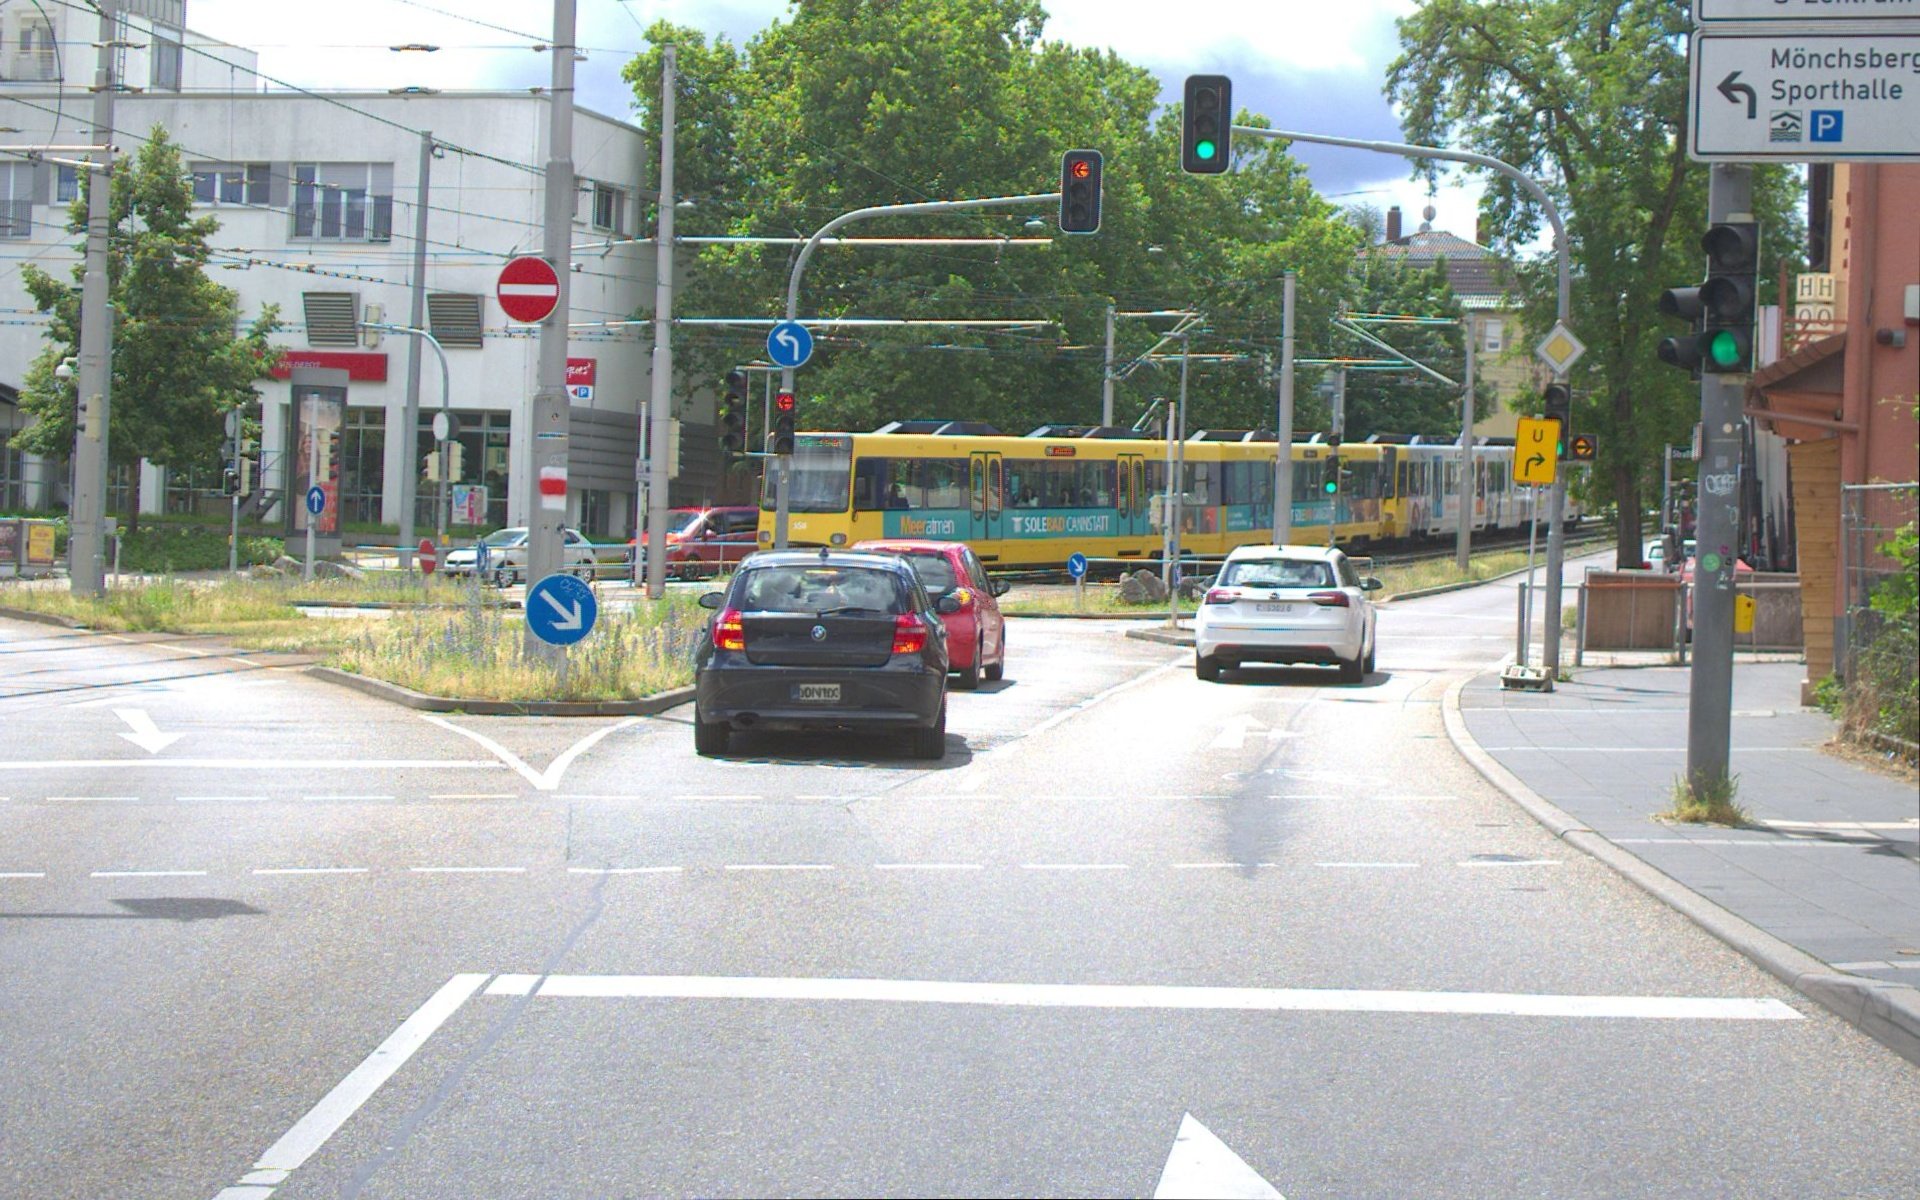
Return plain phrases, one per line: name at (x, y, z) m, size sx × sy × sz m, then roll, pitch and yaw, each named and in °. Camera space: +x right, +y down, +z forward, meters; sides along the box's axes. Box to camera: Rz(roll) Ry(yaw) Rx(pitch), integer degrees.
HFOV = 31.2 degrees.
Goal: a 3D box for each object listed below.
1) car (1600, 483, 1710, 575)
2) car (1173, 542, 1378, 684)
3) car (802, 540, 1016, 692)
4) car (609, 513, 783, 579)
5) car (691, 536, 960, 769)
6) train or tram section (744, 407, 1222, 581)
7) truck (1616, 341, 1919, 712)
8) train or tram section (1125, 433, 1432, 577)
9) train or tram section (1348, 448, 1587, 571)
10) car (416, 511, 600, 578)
car at (16.366, -1.689, 80.833) m, size 1.995 × 2.006 × 3.997 m, roll 3°, pitch 3°, yaw 18°
car at (3.583, 0.130, 38.437) m, size 1.889 × 1.460 × 4.067 m, roll 1°, pitch 0°, yaw 10°
car at (-0.466, 0.119, 34.994) m, size 1.712 × 1.388 × 3.808 m, roll 2°, pitch 2°, yaw 6°
car at (-6.717, -1.364, 87.779) m, size 1.998 × 1.595 × 4.189 m, roll 3°, pitch 2°, yaw 41°
car at (-0.931, 0.309, 24.479) m, size 1.726 × 1.451 × 3.809 m, roll 1°, pitch 2°, yaw -1°
train or tram section at (1.068, -2.460, 83.427) m, size 2.702 × 3.738 × 18.329 m, roll 3°, pitch 2°, yaw 30°
truck at (13.645, -0.757, 45.423) m, size 8.997 × 4.520 × 3.214 m, roll 3°, pitch 0°, yaw -5°
train or tram section at (9.571, -2.680, 99.528) m, size 2.701 × 3.738 × 18.336 m, roll 3°, pitch 2°, yaw 25°
train or tram section at (17.424, -2.995, 116.131) m, size 2.701 × 3.738 × 18.336 m, roll 3°, pitch 2°, yaw 25°
car at (-10.870, -1.332, 82.839) m, size 1.999 × 1.459 × 3.990 m, roll 3°, pitch 1°, yaw 42°
